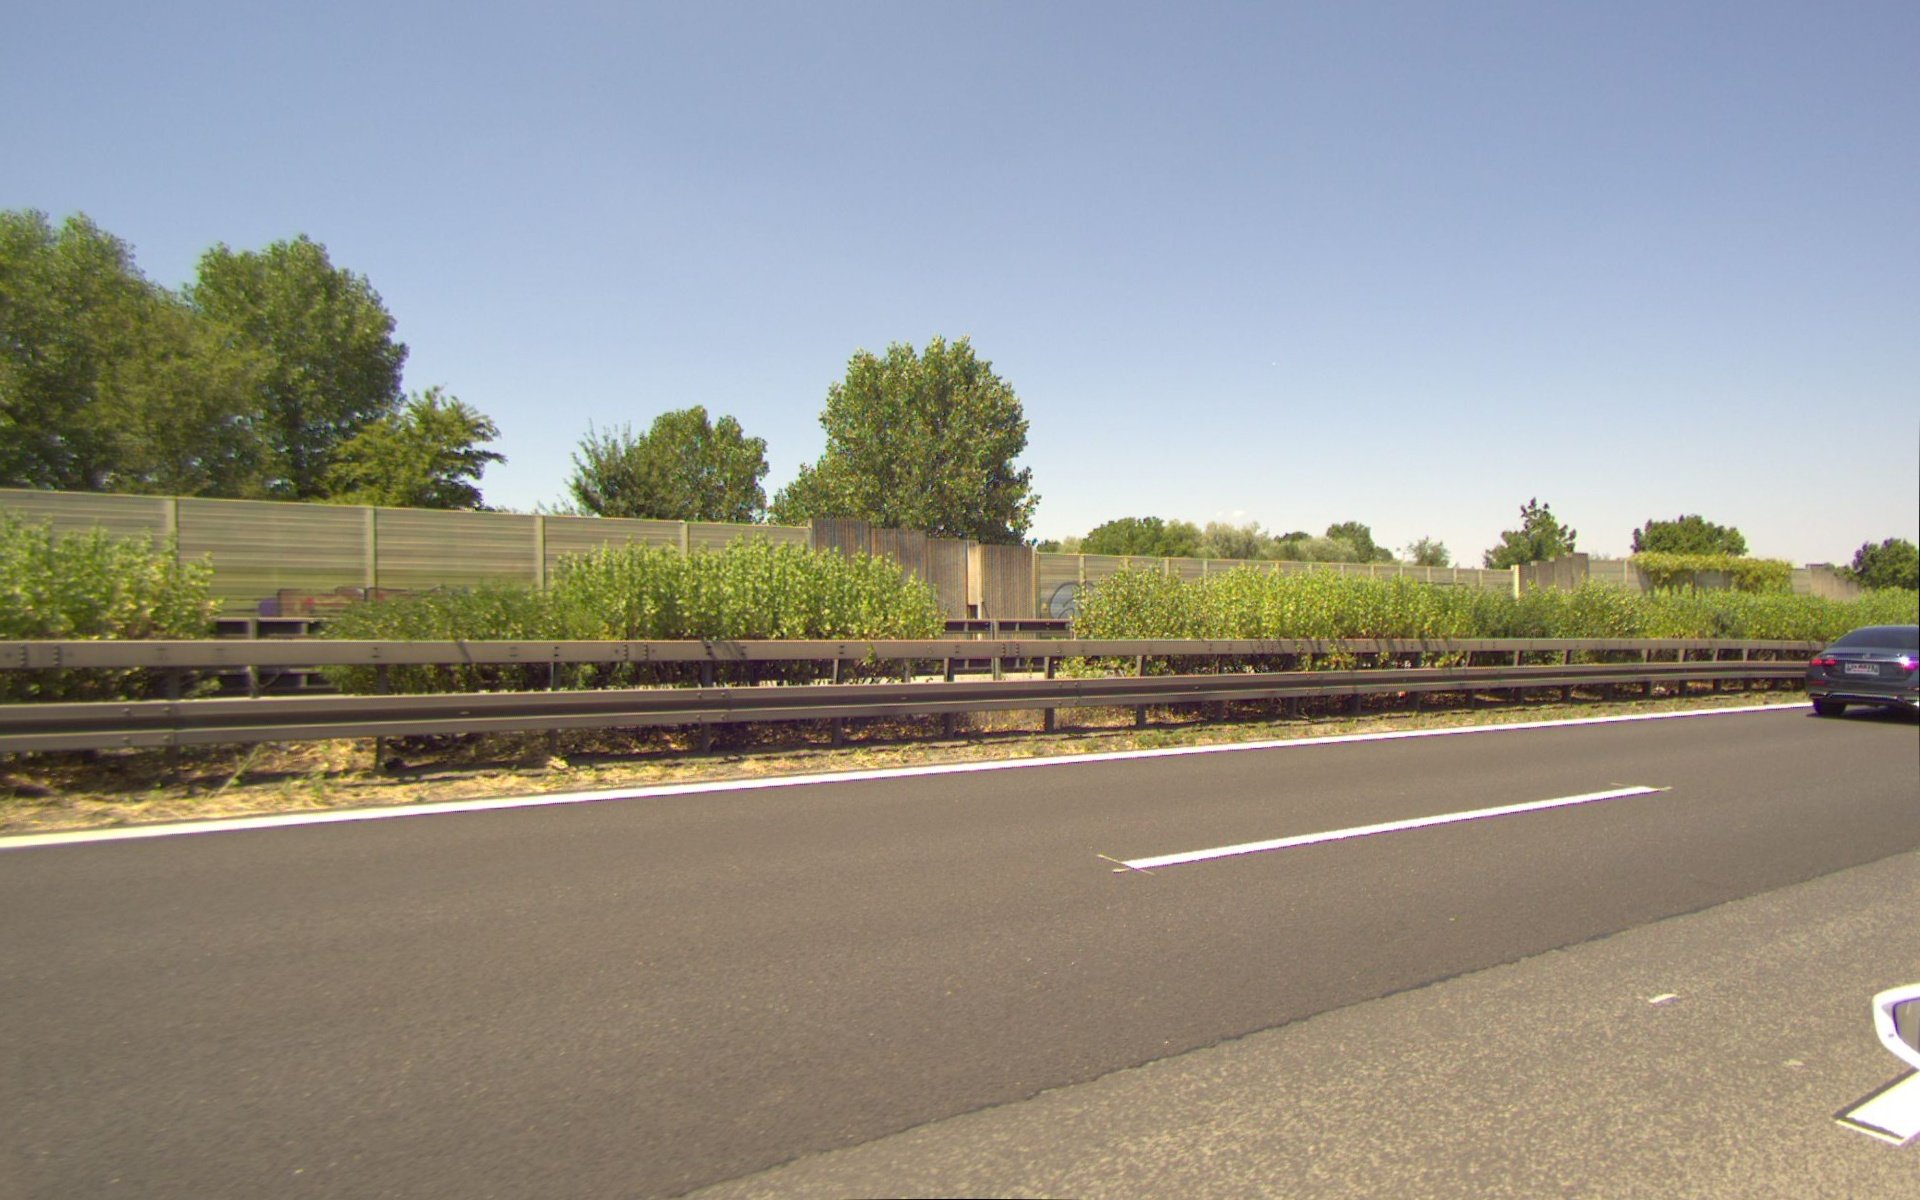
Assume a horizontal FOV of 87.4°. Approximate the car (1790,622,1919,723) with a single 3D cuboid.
[{"bbox_3d":[15.758,1.111,16.450,4.981,1.427,1.748,1,0,-31],"label":"car"}]
